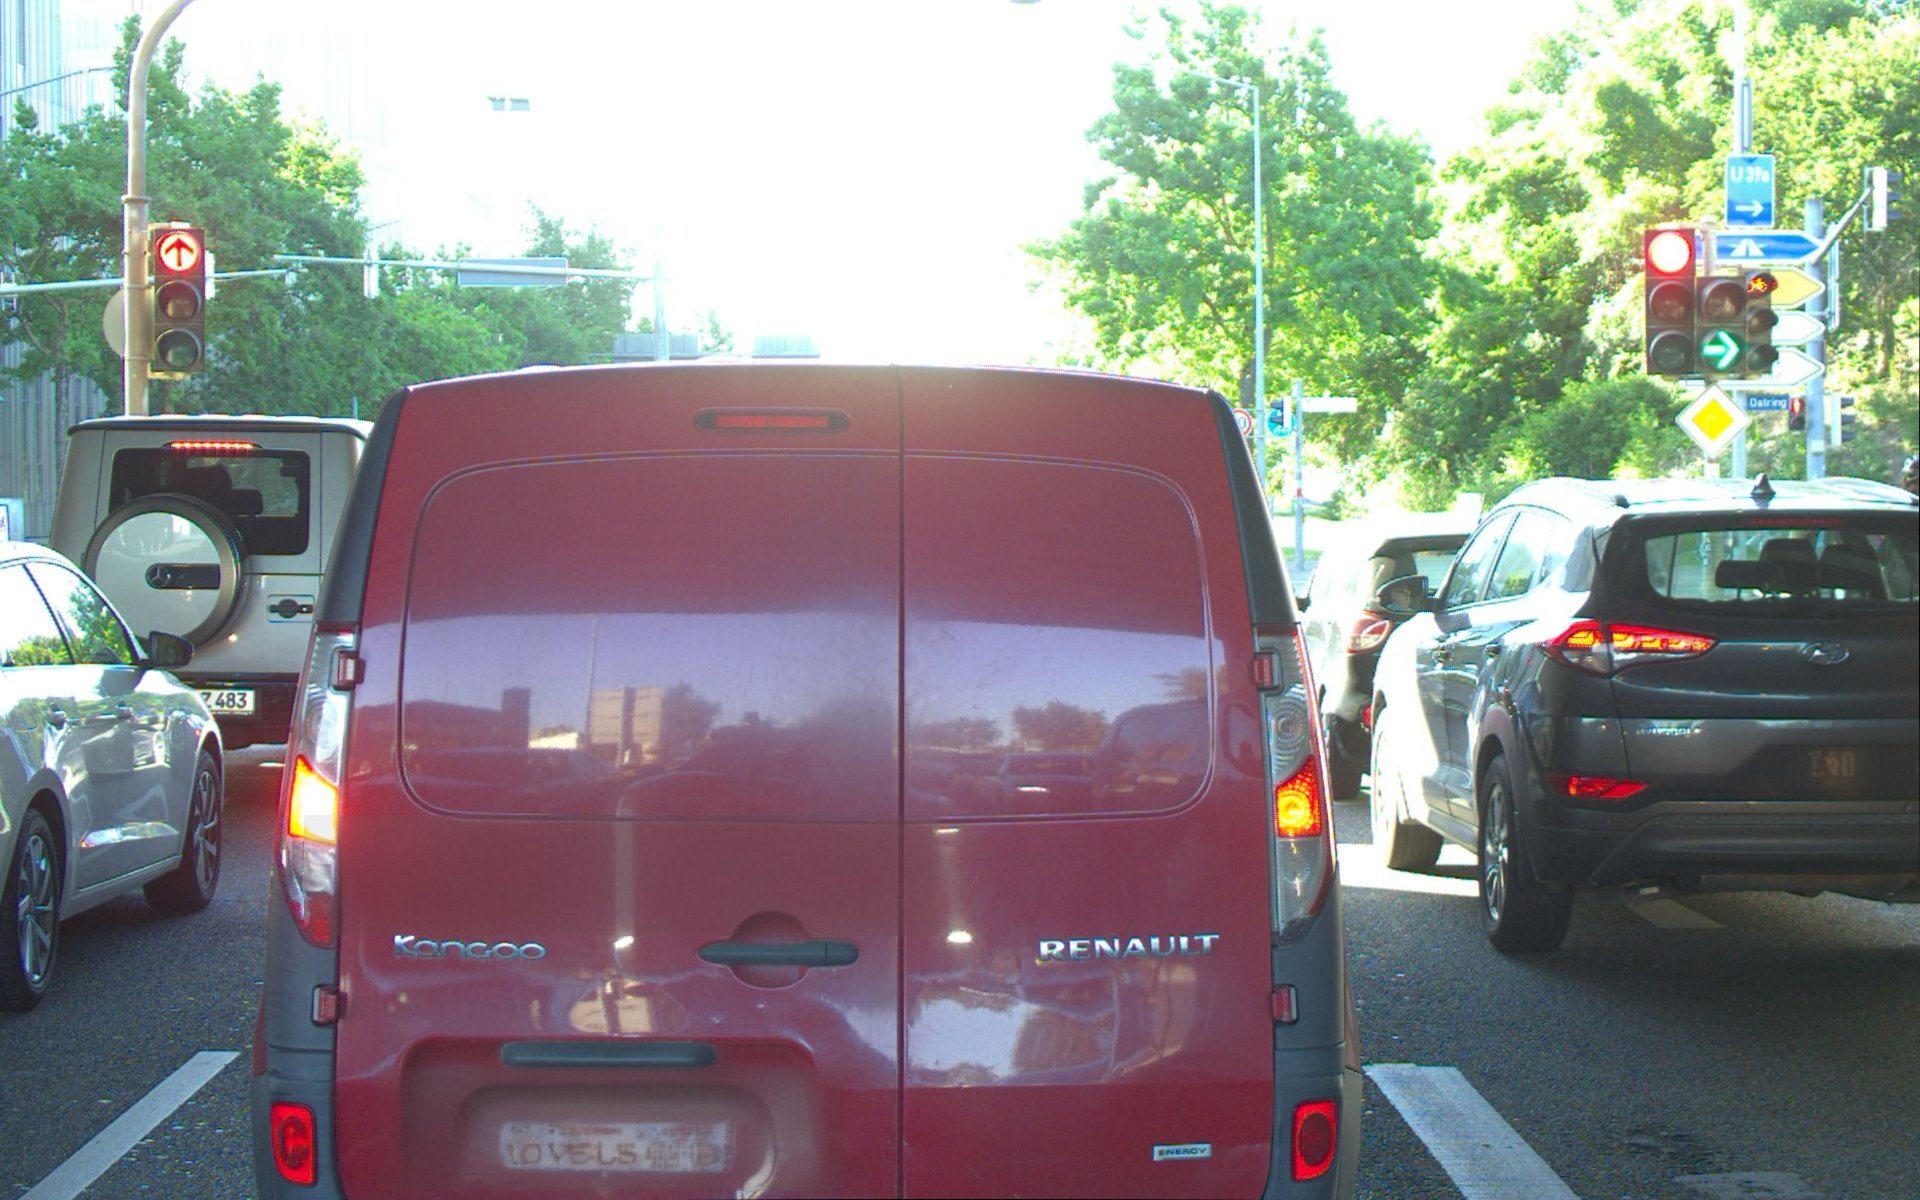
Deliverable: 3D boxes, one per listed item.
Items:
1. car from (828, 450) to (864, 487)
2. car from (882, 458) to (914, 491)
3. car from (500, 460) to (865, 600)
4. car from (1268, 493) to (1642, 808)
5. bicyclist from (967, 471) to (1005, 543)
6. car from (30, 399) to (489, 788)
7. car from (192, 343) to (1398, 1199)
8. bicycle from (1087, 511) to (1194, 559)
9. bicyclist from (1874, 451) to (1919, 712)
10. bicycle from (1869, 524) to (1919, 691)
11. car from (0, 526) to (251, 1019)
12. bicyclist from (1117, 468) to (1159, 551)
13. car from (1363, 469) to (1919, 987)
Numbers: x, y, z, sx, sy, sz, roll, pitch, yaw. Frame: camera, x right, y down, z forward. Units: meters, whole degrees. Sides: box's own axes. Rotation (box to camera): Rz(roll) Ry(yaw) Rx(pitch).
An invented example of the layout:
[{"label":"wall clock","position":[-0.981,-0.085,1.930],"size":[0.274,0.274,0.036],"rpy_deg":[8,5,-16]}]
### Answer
[{"label":"car","position":[-6.538,-7.561,197.590],"size":[1.993,2.007,4.000],"rpy_deg":[1,1,-1]},{"label":"car","position":[-3.964,-8.047,220.650],"size":[1.993,2.007,4.000],"rpy_deg":[1,1,-1]},{"label":"car","position":[-3.471,-0.858,42.575],"size":[4.346,1.602,2.001],"rpy_deg":[1,1,-9]},{"label":"car","position":[2.679,0.198,19.361],"size":[1.652,1.546,3.864],"rpy_deg":[1,2,2]},{"label":"bicyclist","position":[0.482,-1.749,64.800],"size":[0.652,1.325,0.603],"rpy_deg":[1,1,-4]},{"label":"car","position":[-3.723,-0.070,18.907],"size":[1.813,1.897,3.814],"rpy_deg":[1,1,-1]},{"label":"car","position":[-0.263,0.480,6.948],"size":[1.719,1.758,4.000],"rpy_deg":[1,1,-1]},{"label":"bicycle","position":[3.353,-1.209,63.963],"size":[1.953,0.871,0.699],"rpy_deg":[0,1,0]},{"label":"bicyclist","position":[6.178,-0.114,21.750],"size":[0.677,1.623,0.644],"rpy_deg":[1,1,10]},{"label":"bicycle","position":[6.180,0.044,21.769],"size":[0.677,1.020,1.528],"rpy_deg":[1,1,10]},{"label":"car","position":[-3.606,0.455,11.506],"size":[1.692,1.405,3.813],"rpy_deg":[1,1,0]},{"label":"bicyclist","position":[3.311,-1.682,63.981],"size":[0.755,1.537,0.697],"rpy_deg":[0,1,0]},{"label":"car","position":[2.678,0.360,12.975],"size":[1.778,1.650,3.991],"rpy_deg":[0,1,-1]}]
